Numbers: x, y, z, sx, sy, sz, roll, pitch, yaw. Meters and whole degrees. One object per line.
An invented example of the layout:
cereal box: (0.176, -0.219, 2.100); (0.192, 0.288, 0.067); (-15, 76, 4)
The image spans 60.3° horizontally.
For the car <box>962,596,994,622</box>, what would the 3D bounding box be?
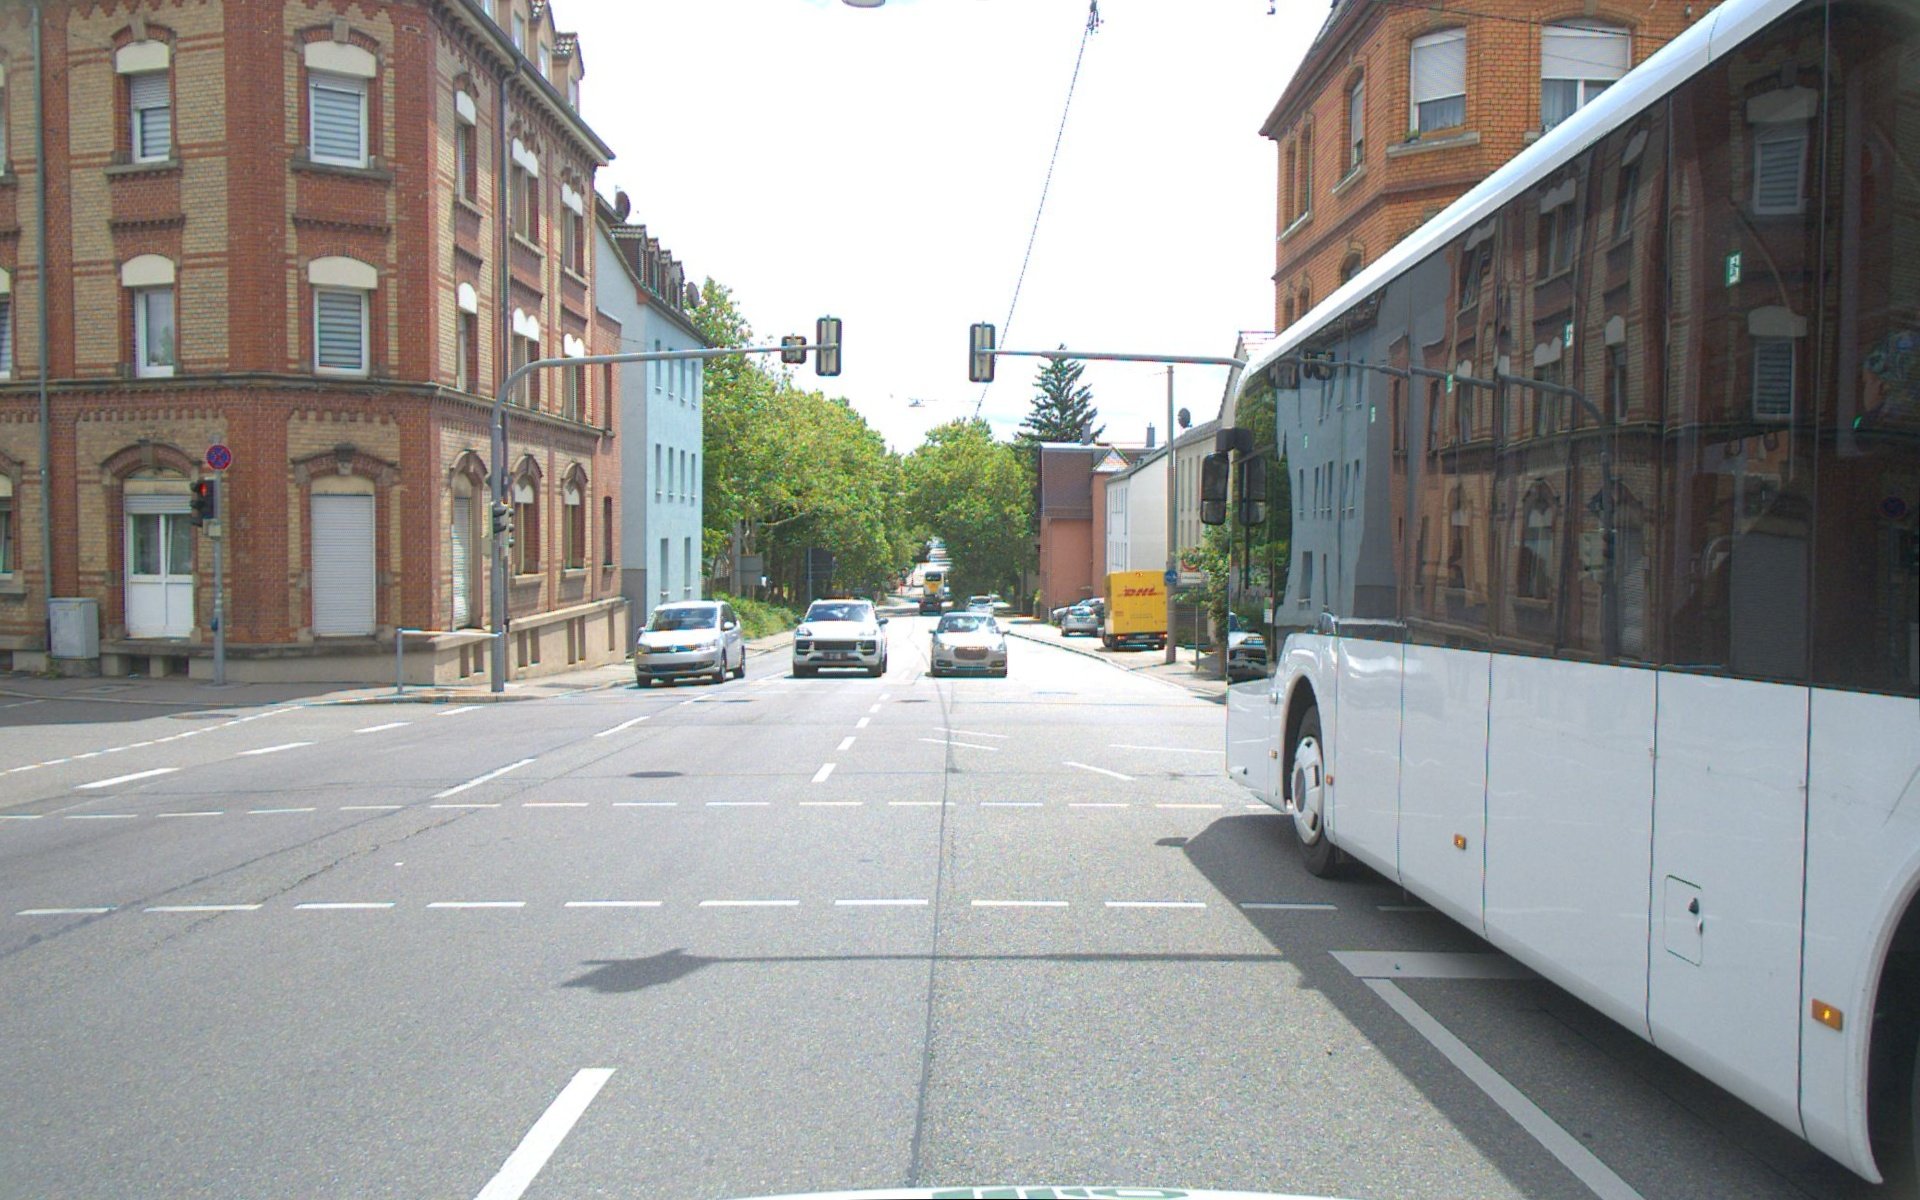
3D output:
car: (1.312, 0.655, 120.960); (2.050, 1.862, 4.140); (0, 0, -3)

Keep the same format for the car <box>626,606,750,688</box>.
car: (-5.637, 0.932, 34.820); (1.896, 1.591, 4.388); (0, 0, 0)

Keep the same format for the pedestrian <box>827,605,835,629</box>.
pedestrian: (-9.995, 1.322, 128.428); (0.594, 1.789, 0.653); (-1, 0, -1)

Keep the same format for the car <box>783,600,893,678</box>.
car: (-2.680, 0.843, 37.456); (2.162, 1.641, 4.546); (0, 0, 0)

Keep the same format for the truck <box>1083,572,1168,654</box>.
truck: (6.252, 0.498, 63.318); (2.489, 2.964, 6.571); (1, 0, 0)

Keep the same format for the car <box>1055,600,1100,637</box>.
car: (5.965, 0.917, 84.392); (1.872, 1.848, 3.998); (0, 0, -3)

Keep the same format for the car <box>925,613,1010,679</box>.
car: (0.153, 1.003, 37.869); (1.827, 1.391, 4.546); (0, 0, 0)

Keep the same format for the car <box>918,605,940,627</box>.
car: (-2.652, 1.346, 141.304); (1.782, 1.816, 4.000); (0, 0, 0)

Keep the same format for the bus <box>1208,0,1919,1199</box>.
bus: (3.315, -0.206, 6.078); (2.845, 3.571, 12.486); (1, 0, 0)

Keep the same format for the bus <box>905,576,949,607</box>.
bus: (-4.121, -0.996, 202.256); (3.243, 3.694, 11.206); (-1, 0, -13)
